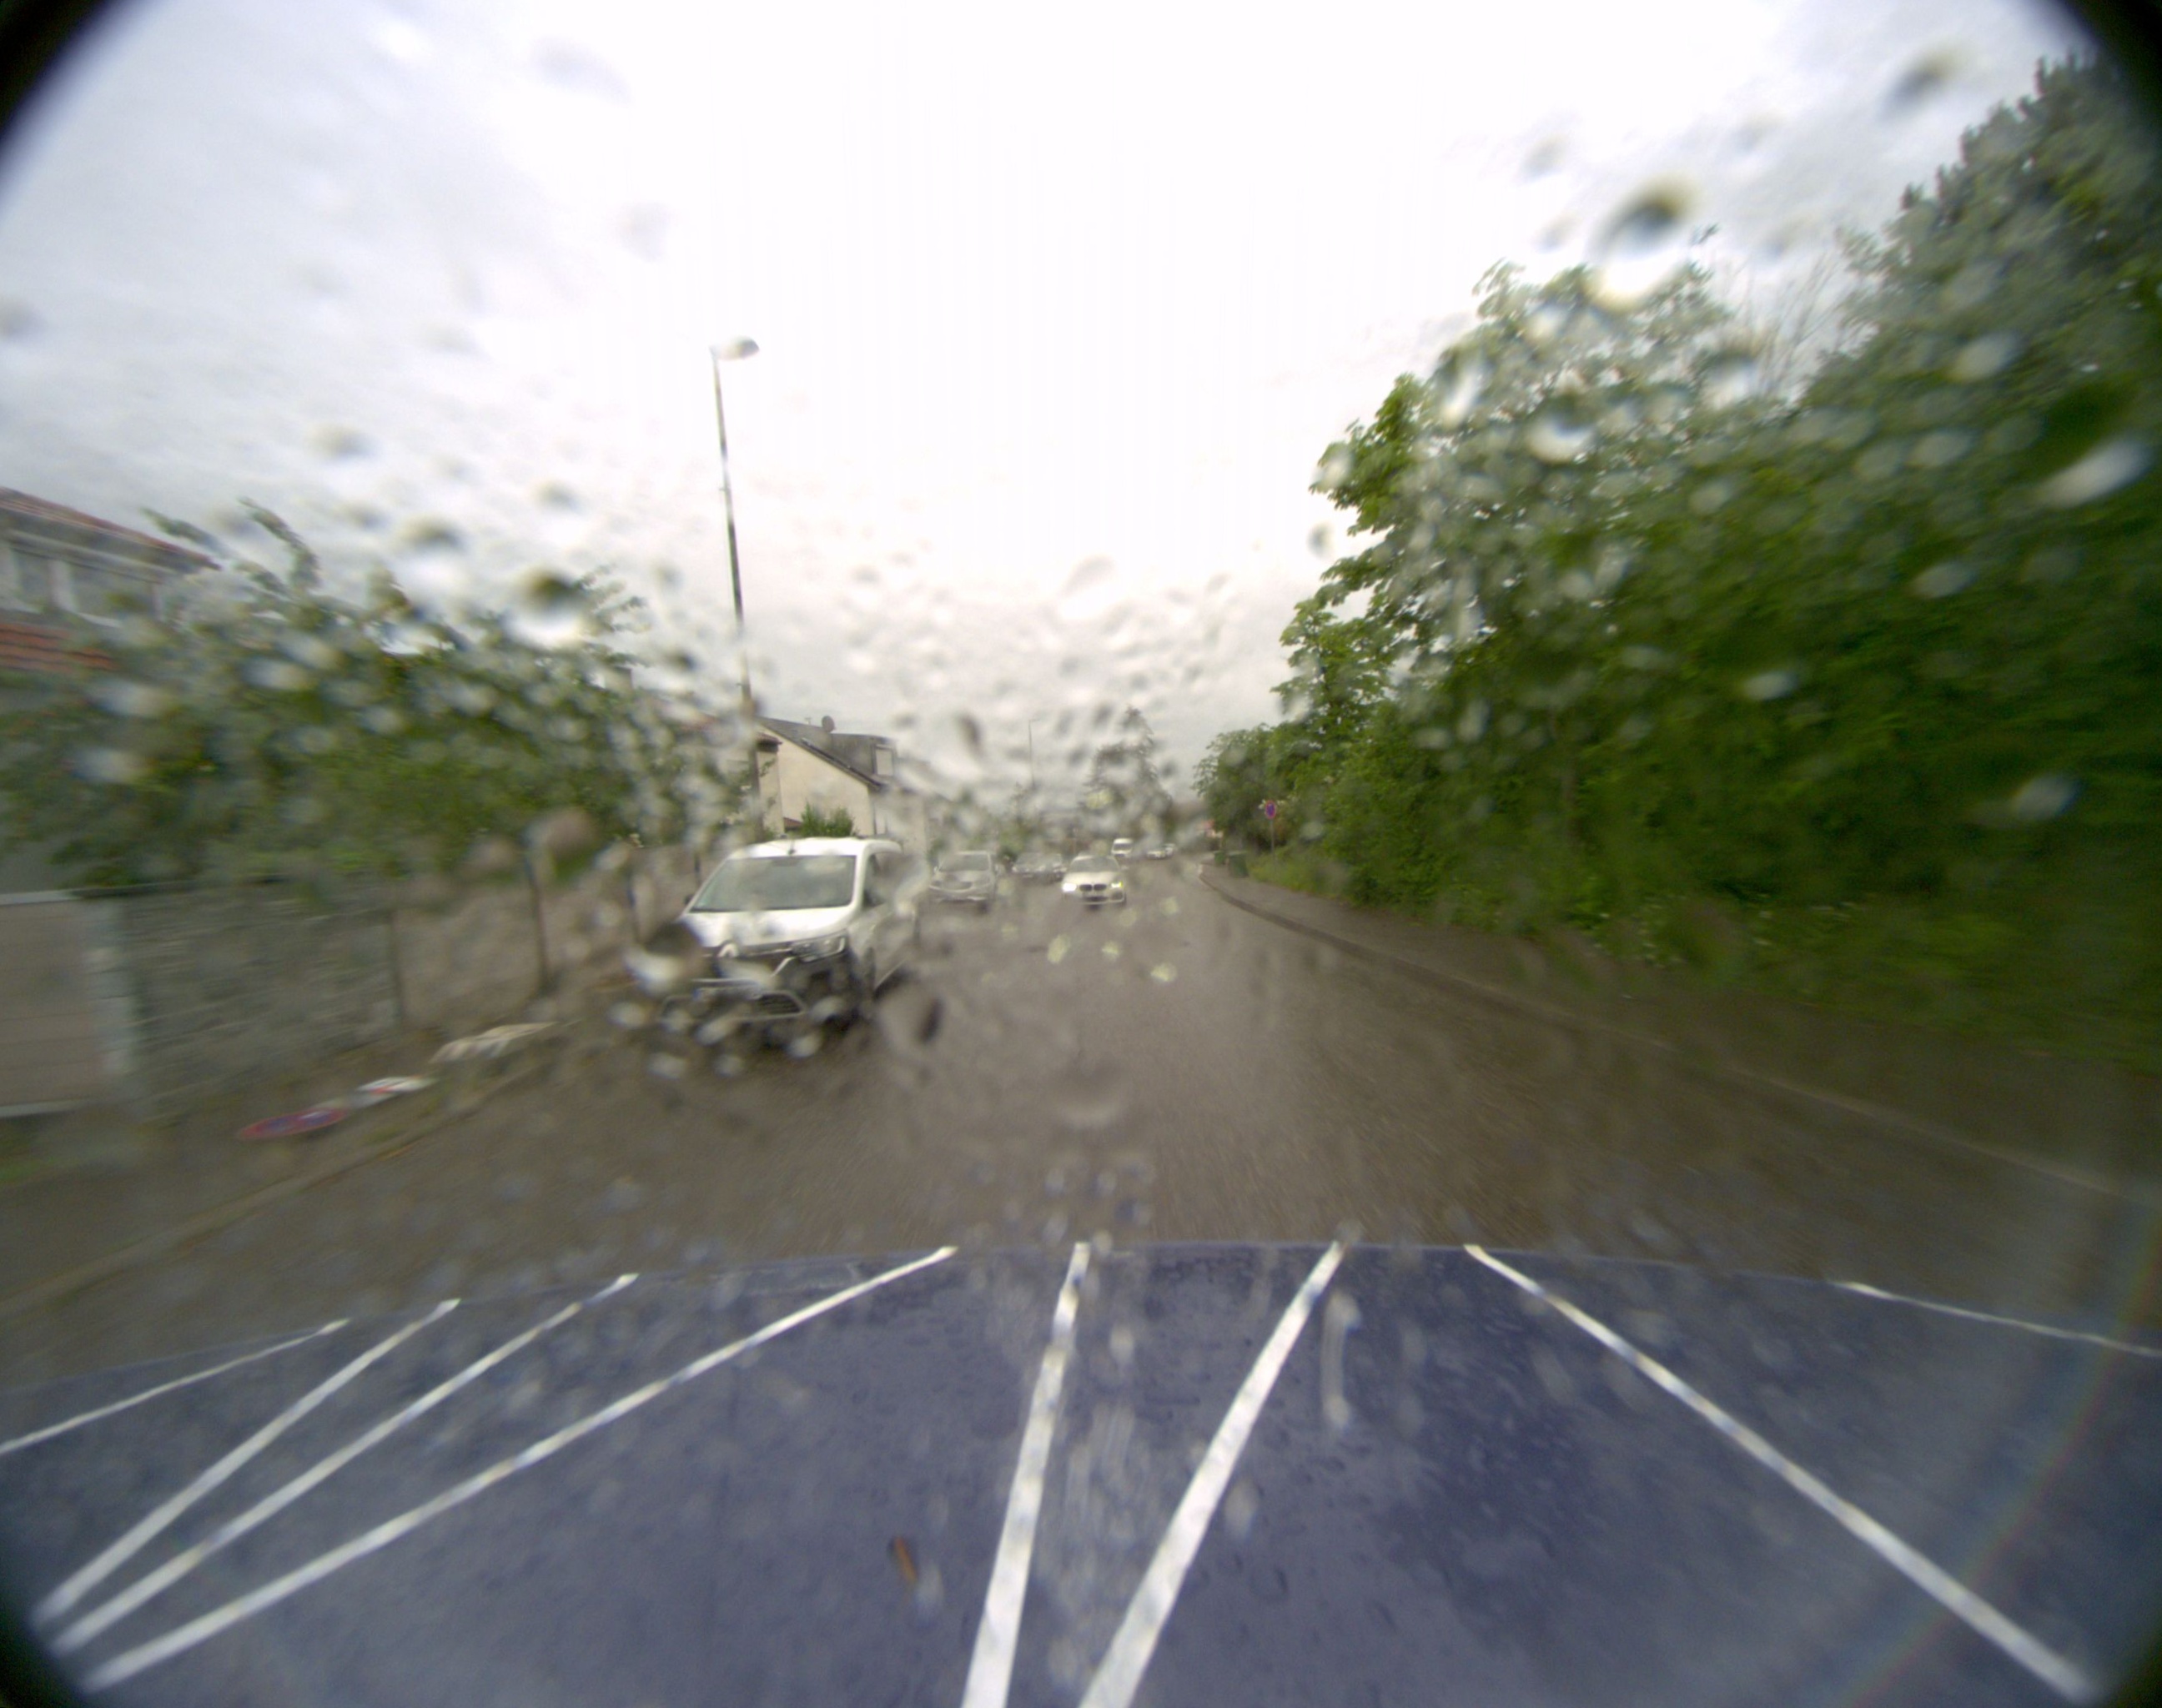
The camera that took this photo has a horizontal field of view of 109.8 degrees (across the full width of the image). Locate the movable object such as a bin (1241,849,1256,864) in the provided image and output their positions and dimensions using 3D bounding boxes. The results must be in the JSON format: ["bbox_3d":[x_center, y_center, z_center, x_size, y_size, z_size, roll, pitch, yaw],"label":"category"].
[{"bbox_3d":[12.546,0.172,56.964,0.781,1.022,0.718,-6,2,-37],"label":"movable object such as a bin"}]

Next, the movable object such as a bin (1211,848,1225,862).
[{"bbox_3d":[10.830,0.102,60.148,0.780,1.022,0.718,-5,2,-14],"label":"movable object such as a bin"}]

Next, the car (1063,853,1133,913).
[{"bbox_3d":[0.503,0.769,21.952,1.798,1.455,3.999,-2,1,2],"label":"car"}]

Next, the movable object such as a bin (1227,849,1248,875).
[{"bbox_3d":[6.886,0.347,33.426,0.770,1.090,0.738,-2,1,1],"label":"movable object such as a bin"}]

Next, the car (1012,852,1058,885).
[{"bbox_3d":[-2.144,0.658,36.243,1.663,1.459,3.764,0,1,4],"label":"car"}]

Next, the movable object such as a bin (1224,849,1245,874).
[{"bbox_3d":[6.921,0.333,34.212,0.770,1.090,0.738,-2,1,1],"label":"movable object such as a bin"}]

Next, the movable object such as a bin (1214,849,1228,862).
[{"bbox_3d":[10.961,0.113,59.417,0.780,1.022,0.718,-5,2,-14],"label":"movable object such as a bin"}]

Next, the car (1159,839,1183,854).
[{"bbox_3d":[11.365,-0.961,95.912,1.867,1.808,4.868,-1,1,20],"label":"car"}]

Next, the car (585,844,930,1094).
[{"bbox_3d":[-2.883,0.831,8.061,1.784,1.793,4.705,-2,1,-3],"label":"car"}]

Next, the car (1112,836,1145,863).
[{"bbox_3d":[4.735,-0.508,74.605,2.075,2.535,6.186,-1,1,14],"label":"car"}]

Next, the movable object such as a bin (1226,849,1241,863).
[{"bbox_3d":[11.660,0.148,58.148,0.781,1.022,0.718,-6,2,-37],"label":"movable object such as a bin"}]

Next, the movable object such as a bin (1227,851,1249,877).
[{"bbox_3d":[6.636,0.420,32.111,0.770,1.062,0.691,-2,1,1],"label":"movable object such as a bin"}]

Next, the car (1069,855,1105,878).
[{"bbox_3d":[0.519,0.860,55.314,1.861,1.518,5.066,0,1,9],"label":"car"}]

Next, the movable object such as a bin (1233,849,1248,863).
[{"bbox_3d":[12.108,0.152,57.553,0.781,1.022,0.718,-6,2,-37],"label":"movable object such as a bin"}]

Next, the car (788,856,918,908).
[{"bbox_3d":[-8.215,1.003,27.555,3.995,1.581,1.935,-3,2,8],"label":"car"}]

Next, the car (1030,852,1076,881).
[{"bbox_3d":[-1.464,0.628,41.381,1.772,1.459,4.236,0,1,8],"label":"car"}]

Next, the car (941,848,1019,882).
[{"bbox_3d":[-6.057,0.658,45.797,3.994,1.433,2.001,-9,0,13],"label":"car"}]

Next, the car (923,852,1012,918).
[{"bbox_3d":[-3.065,0.781,21.399,1.809,1.617,4.287,-1,1,1],"label":"car"}]

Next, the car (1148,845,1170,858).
[{"bbox_3d":[9.300,-0.295,90.368,1.751,1.415,4.004,-1,1,18],"label":"car"}]
